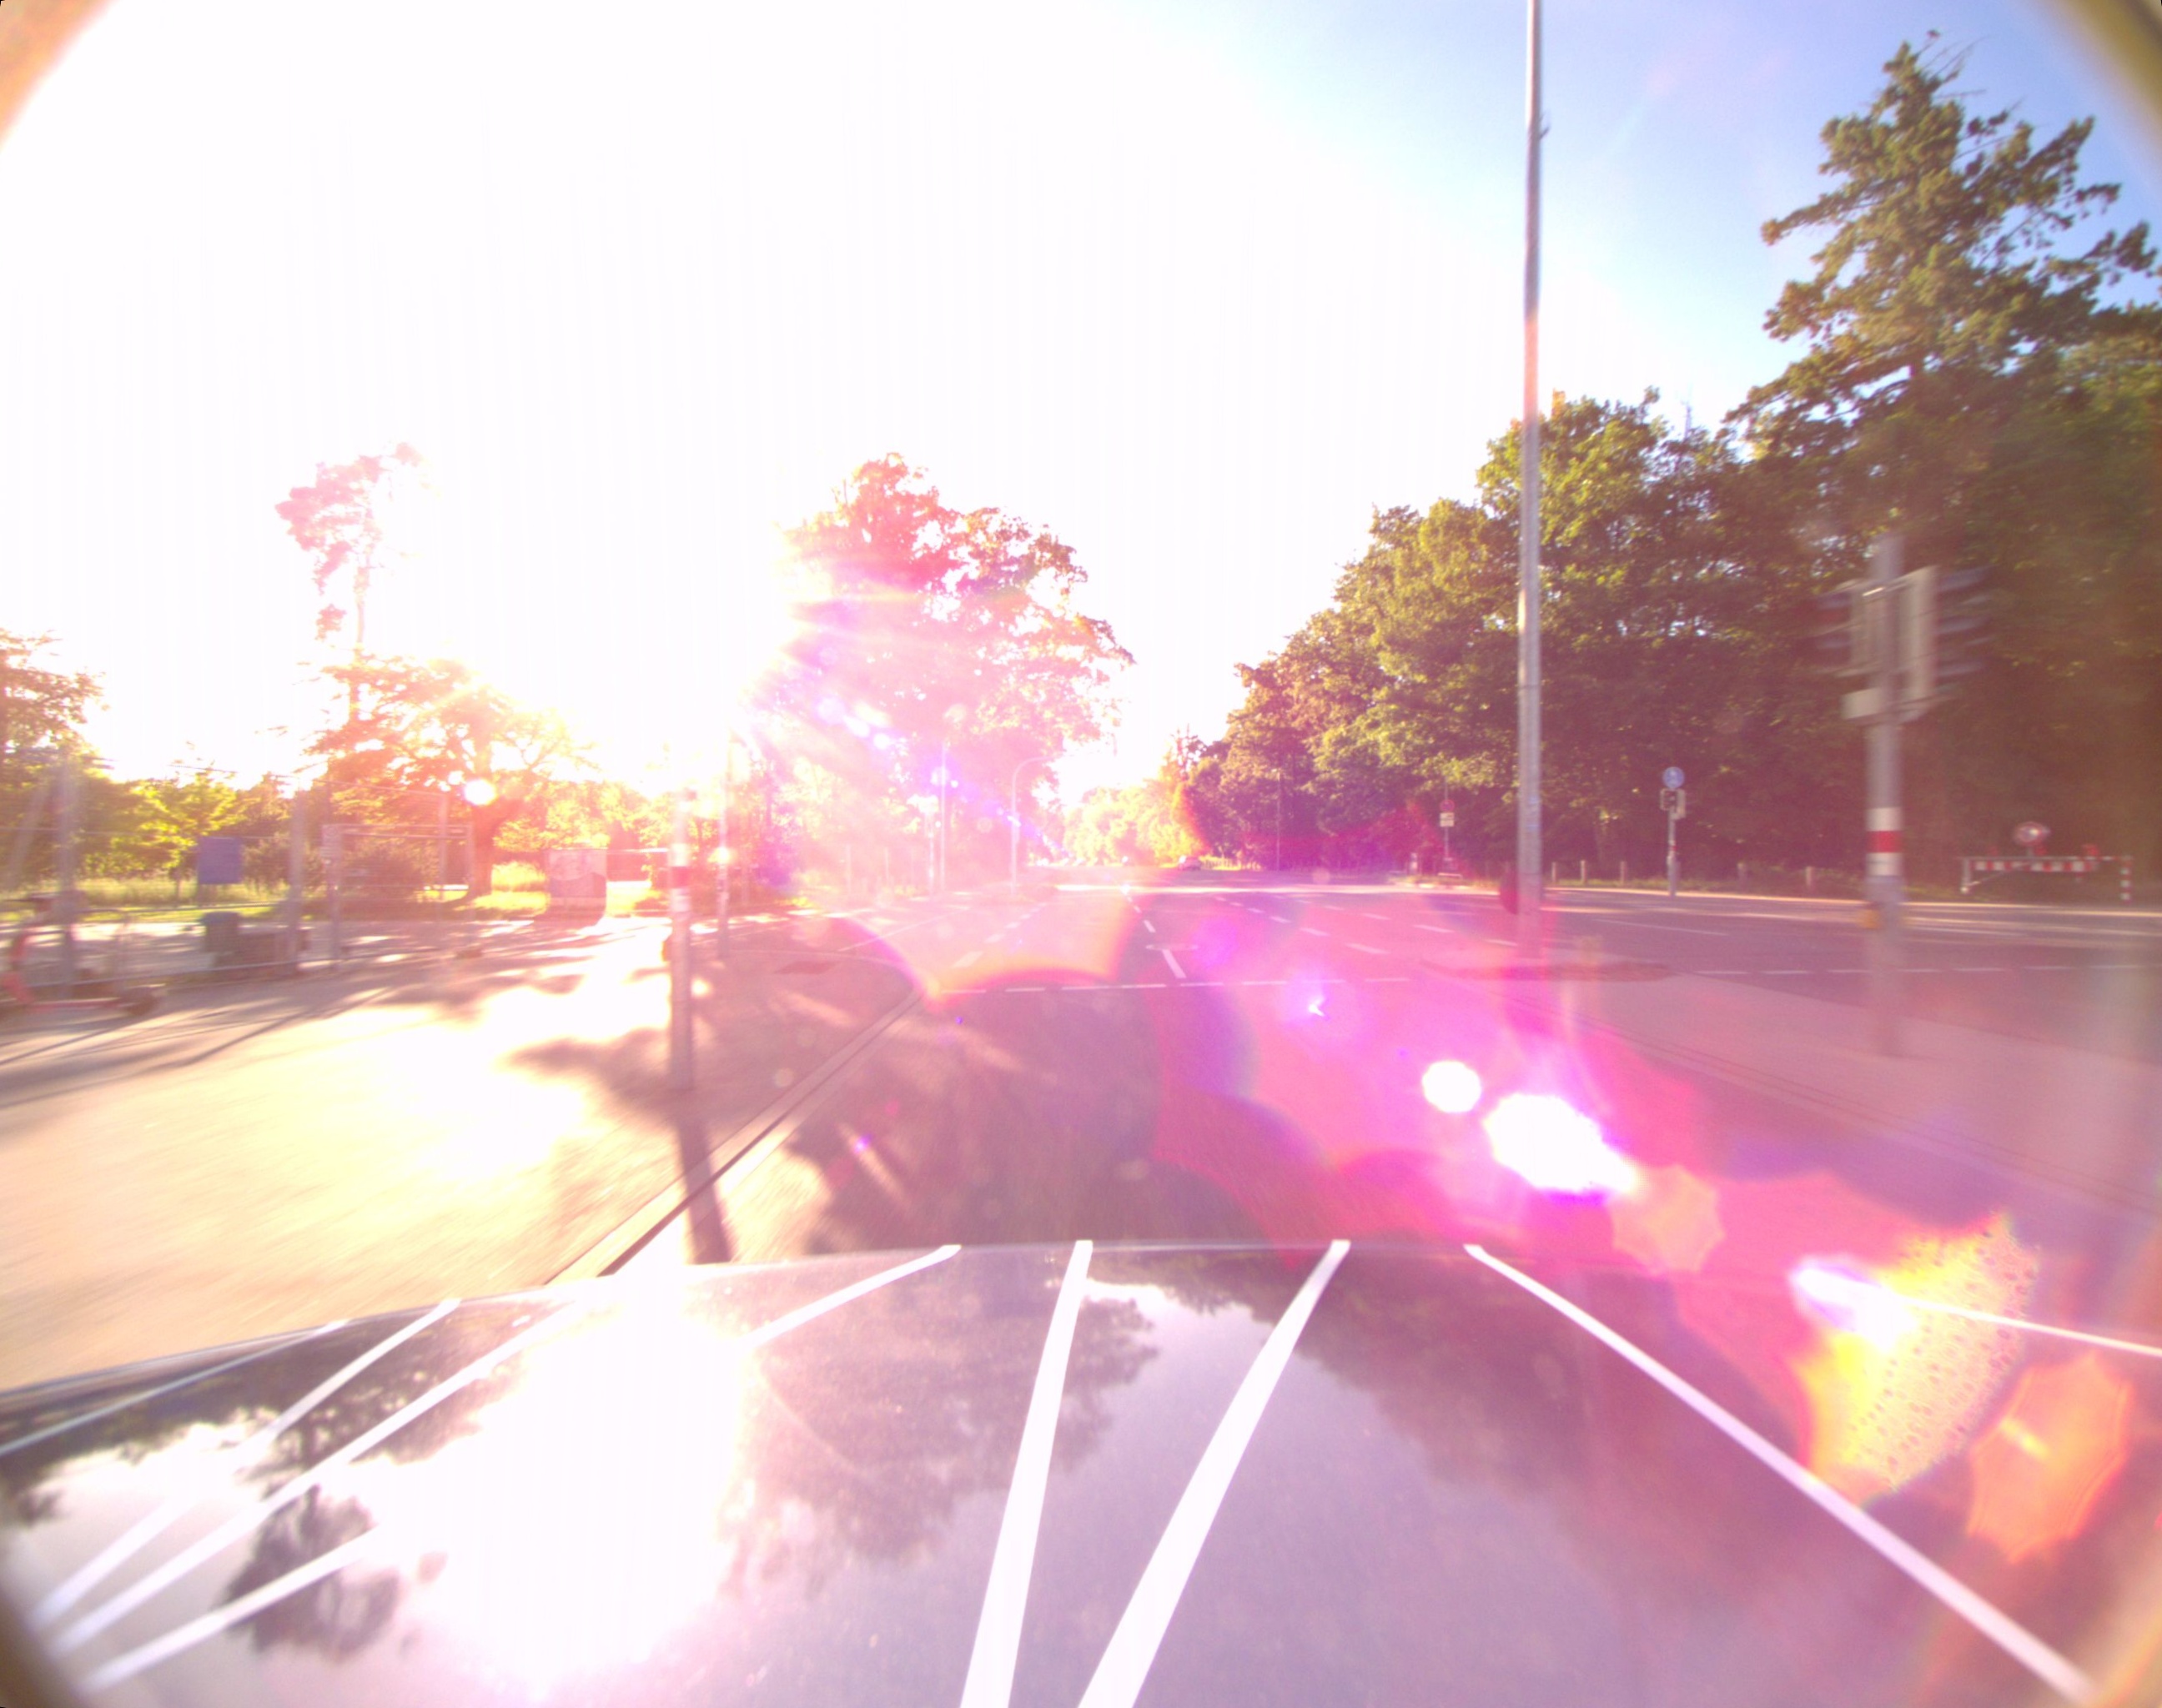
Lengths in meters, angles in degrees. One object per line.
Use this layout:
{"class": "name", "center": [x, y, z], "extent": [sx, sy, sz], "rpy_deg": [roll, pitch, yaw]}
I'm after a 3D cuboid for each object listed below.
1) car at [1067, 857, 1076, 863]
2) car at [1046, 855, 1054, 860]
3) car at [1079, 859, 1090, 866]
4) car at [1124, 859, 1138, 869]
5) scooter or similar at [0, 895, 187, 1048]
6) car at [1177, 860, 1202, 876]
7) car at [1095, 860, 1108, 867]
{"class": "car", "center": [-2.395, 1.423, 189.233], "extent": [1.785, 1.455, 4.271], "rpy_deg": [0, 0, -7]}
{"class": "car", "center": [-9.073, 1.011, 223.957], "extent": [1.785, 1.400, 4.163], "rpy_deg": [-1, -1, -9]}
{"class": "car", "center": [0.752, 1.827, 169.747], "extent": [1.788, 1.513, 4.395], "rpy_deg": [0, 0, -8]}
{"class": "car", "center": [7.694, 1.480, 117.116], "extent": [1.660, 1.499, 3.999], "rpy_deg": [-1, 0, -3]}
{"class": "scooter or similar", "center": [-9.459, 1.060, 7.078], "extent": [1.364, 1.280, 0.602], "rpy_deg": [-1, 0, -41]}
{"class": "car", "center": [10.610, 1.367, 74.432], "extent": [1.715, 1.455, 4.100], "rpy_deg": [-3, 0, -2]}
{"class": "car", "center": [3.993, 1.850, 148.711], "extent": [1.668, 1.509, 3.804], "rpy_deg": [-1, 0, -10]}
